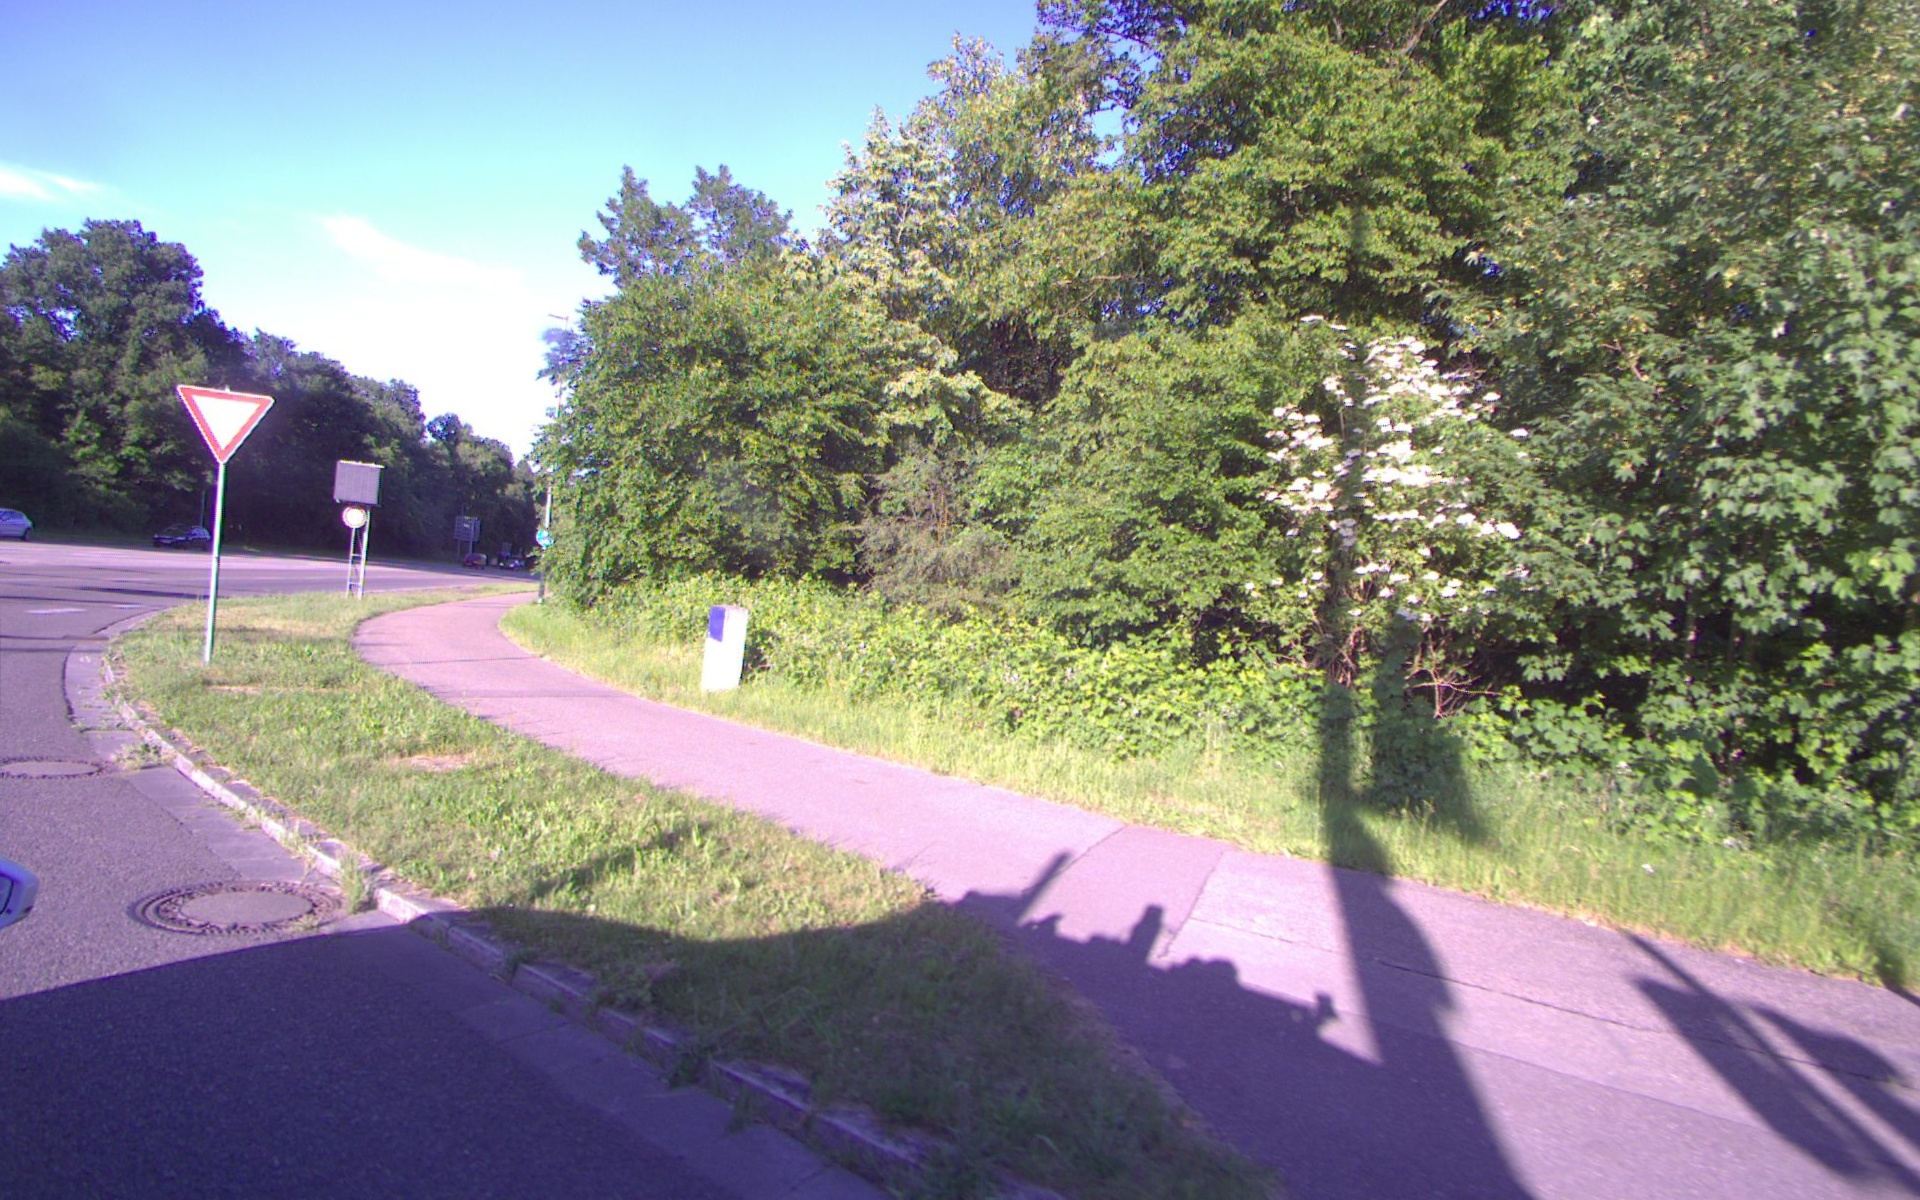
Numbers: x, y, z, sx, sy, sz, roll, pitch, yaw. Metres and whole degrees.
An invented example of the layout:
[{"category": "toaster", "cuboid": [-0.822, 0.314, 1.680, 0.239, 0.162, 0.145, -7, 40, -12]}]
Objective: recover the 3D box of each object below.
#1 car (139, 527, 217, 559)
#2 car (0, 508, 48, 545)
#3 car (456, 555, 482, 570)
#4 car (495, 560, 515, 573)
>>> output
[{"category": "car", "cuboid": [-48.519, -3.498, 62.546, 1.968, 1.548, 4.639, 6, -1, -14]}, {"category": "car", "cuboid": [-44.301, -3.482, 45.909, 1.969, 1.548, 4.638, 6, -1, -15]}, {"category": "car", "cuboid": [-61.206, -4.625, 125.467, 1.970, 1.548, 4.635, 6, -1, -17]}, {"category": "car", "cuboid": [-65.410, -4.758, 144.684, 1.970, 1.548, 4.635, 6, -1, -17]}]
